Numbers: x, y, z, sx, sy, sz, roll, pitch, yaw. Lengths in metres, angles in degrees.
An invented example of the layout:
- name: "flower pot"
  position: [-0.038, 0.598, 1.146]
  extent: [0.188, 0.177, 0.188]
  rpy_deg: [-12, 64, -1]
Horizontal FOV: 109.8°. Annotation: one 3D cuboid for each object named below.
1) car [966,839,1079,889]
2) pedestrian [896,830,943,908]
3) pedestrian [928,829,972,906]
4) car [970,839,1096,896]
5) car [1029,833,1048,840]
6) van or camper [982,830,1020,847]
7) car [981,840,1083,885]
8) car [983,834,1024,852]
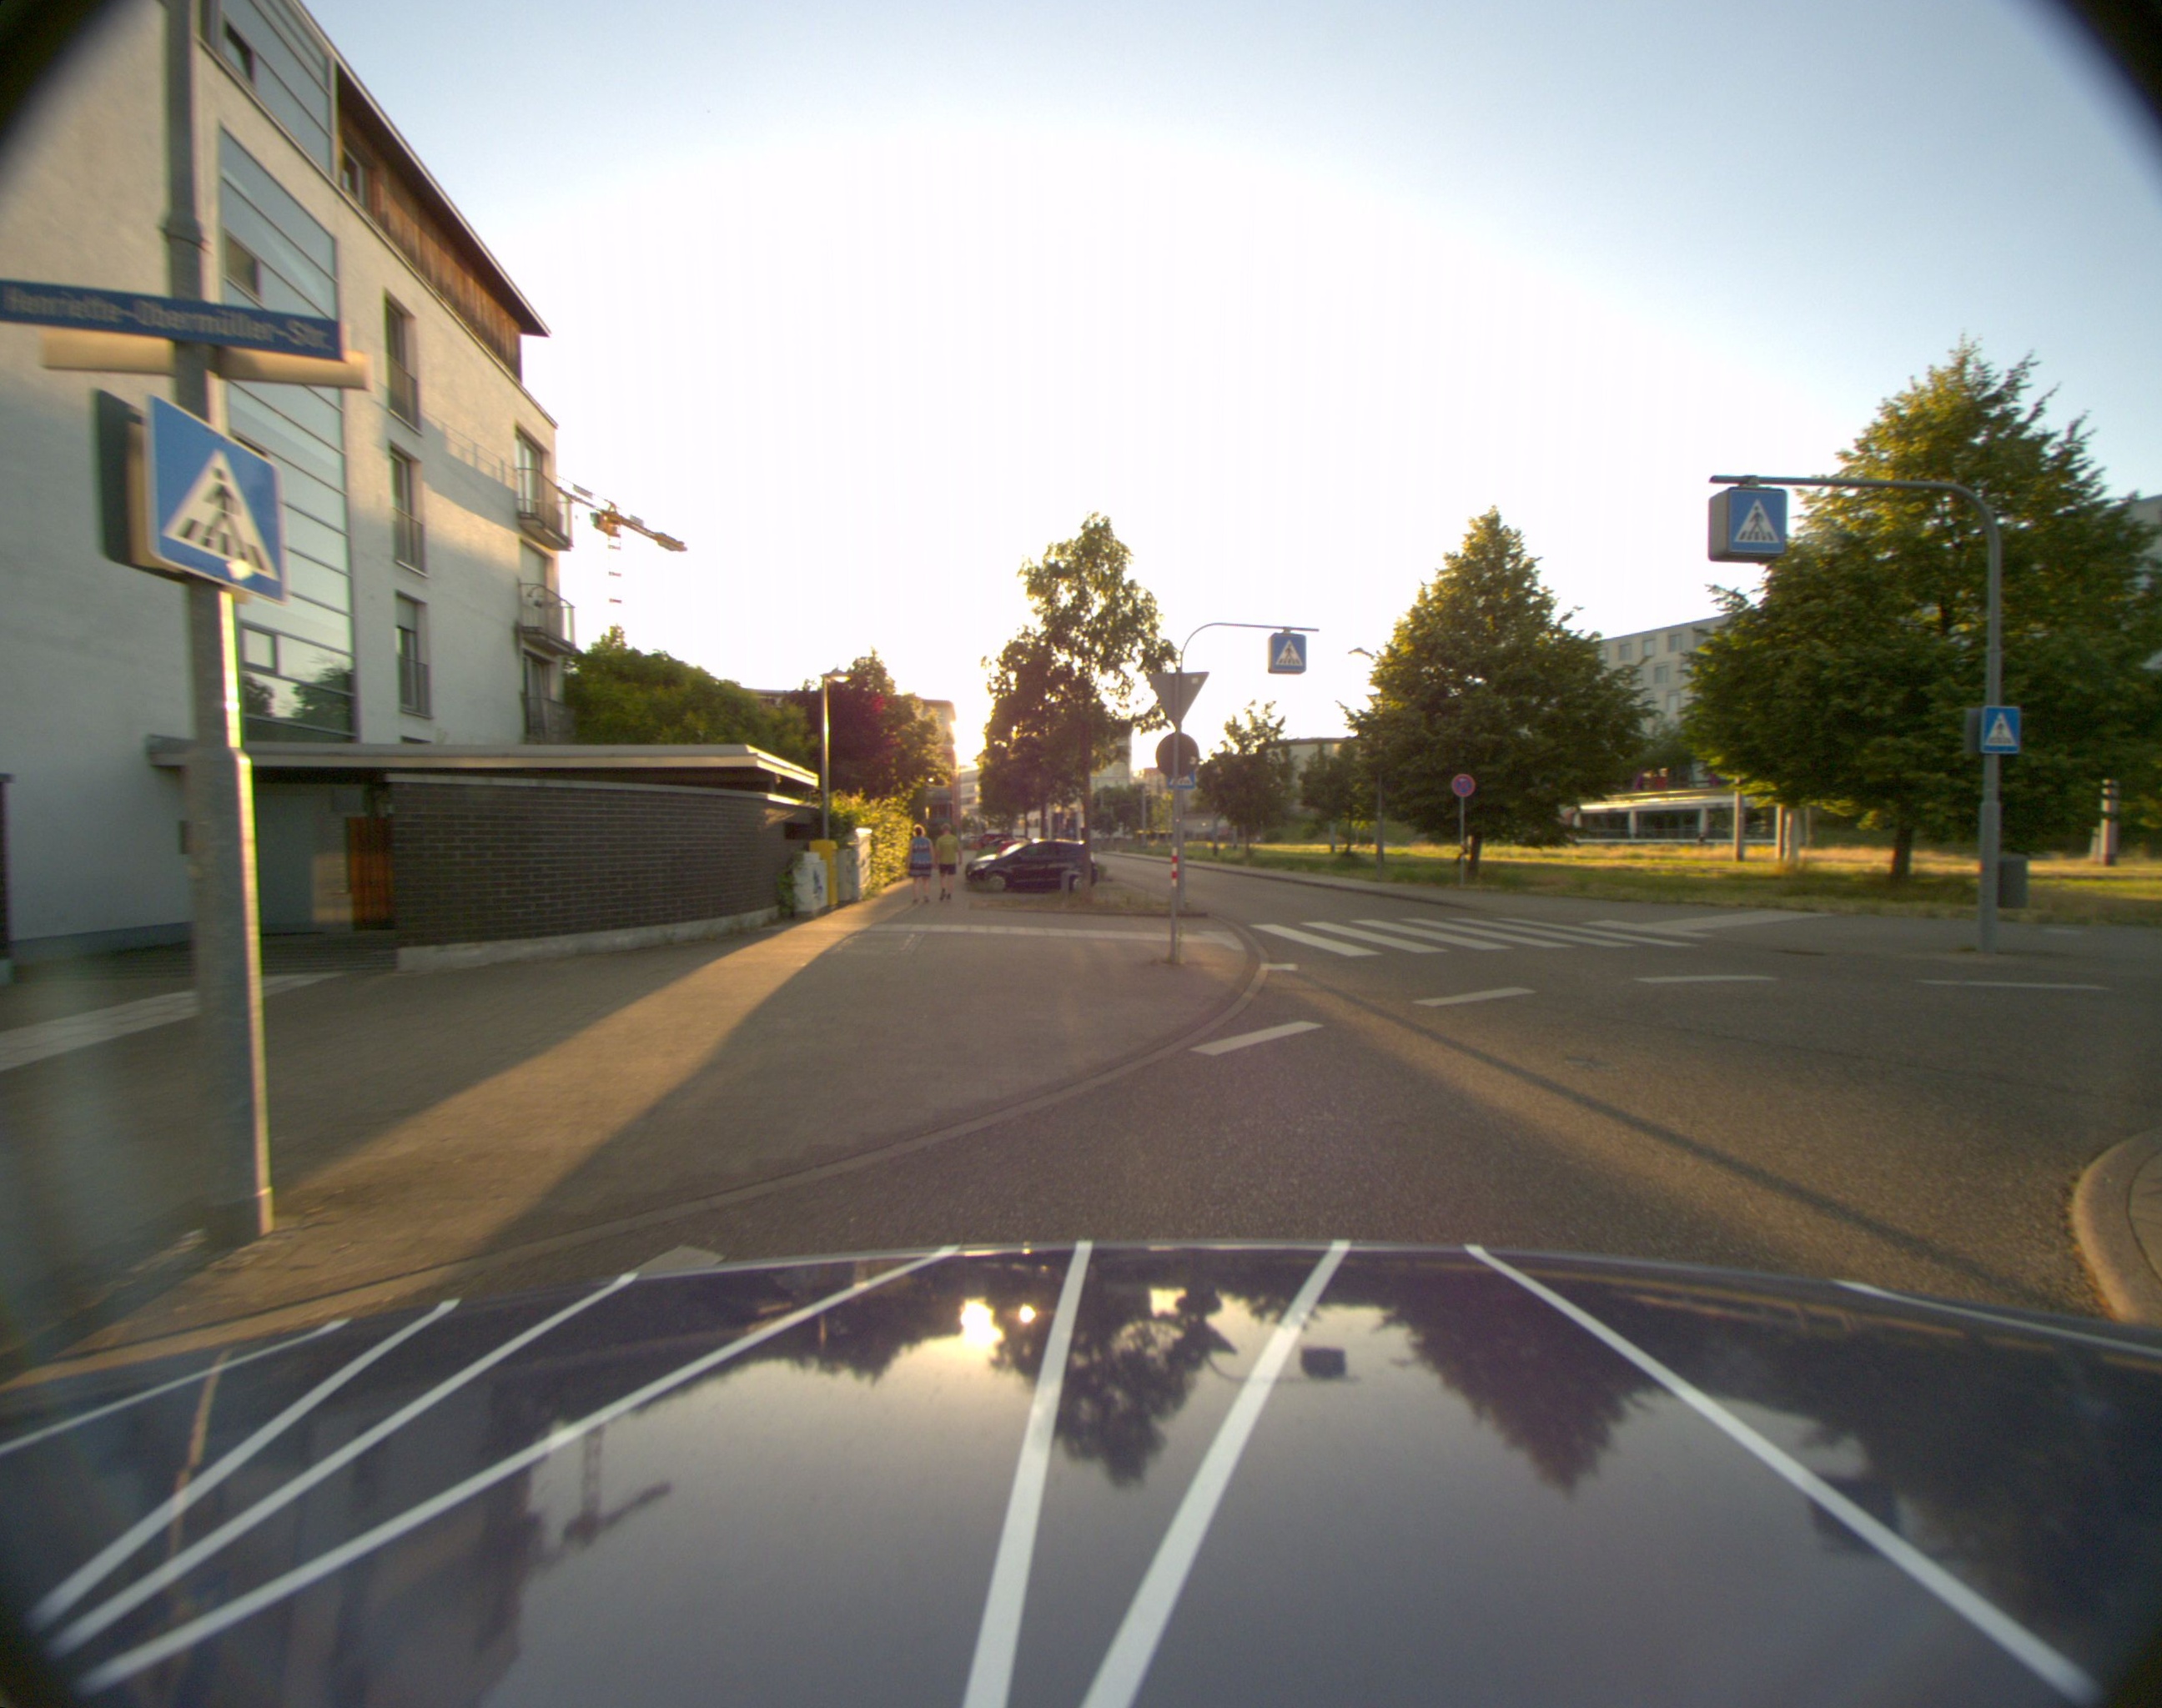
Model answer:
- name: "car"
  position: [-1.869, 0.285, 23.861]
  extent: [3.411, 1.492, 1.593]
  rpy_deg: [0, 2, -9]
- name: "pedestrian"
  position: [-3.429, 0.302, 16.157]
  extent: [0.710, 1.591, 0.658]
  rpy_deg: [3, 5, 42]
- name: "pedestrian"
  position: [-2.886, 0.277, 16.784]
  extent: [0.741, 1.658, 0.625]
  rpy_deg: [3, 5, 42]
- name: "car"
  position: [-1.393, 0.352, 21.414]
  extent: [3.411, 1.513, 1.689]
  rpy_deg: [0, 2, -9]
- name: "car"
  position: [-9.372, -3.855, 168.150]
  extent: [3.880, 1.604, 1.701]
  rpy_deg: [-2, 2, -10]
- name: "van or camper"
  position: [-8.365, -1.605, 79.462]
  extent: [3.880, 1.685, 1.832]
  rpy_deg: [-2, 2, -9]
- name: "car"
  position: [-1.720, 0.275, 26.375]
  extent: [3.411, 1.492, 1.593]
  rpy_deg: [0, 2, -9]
- name: "car"
  position: [-7.866, -1.157, 76.600]
  extent: [3.881, 1.685, 1.700]
  rpy_deg: [-2, 2, -14]
